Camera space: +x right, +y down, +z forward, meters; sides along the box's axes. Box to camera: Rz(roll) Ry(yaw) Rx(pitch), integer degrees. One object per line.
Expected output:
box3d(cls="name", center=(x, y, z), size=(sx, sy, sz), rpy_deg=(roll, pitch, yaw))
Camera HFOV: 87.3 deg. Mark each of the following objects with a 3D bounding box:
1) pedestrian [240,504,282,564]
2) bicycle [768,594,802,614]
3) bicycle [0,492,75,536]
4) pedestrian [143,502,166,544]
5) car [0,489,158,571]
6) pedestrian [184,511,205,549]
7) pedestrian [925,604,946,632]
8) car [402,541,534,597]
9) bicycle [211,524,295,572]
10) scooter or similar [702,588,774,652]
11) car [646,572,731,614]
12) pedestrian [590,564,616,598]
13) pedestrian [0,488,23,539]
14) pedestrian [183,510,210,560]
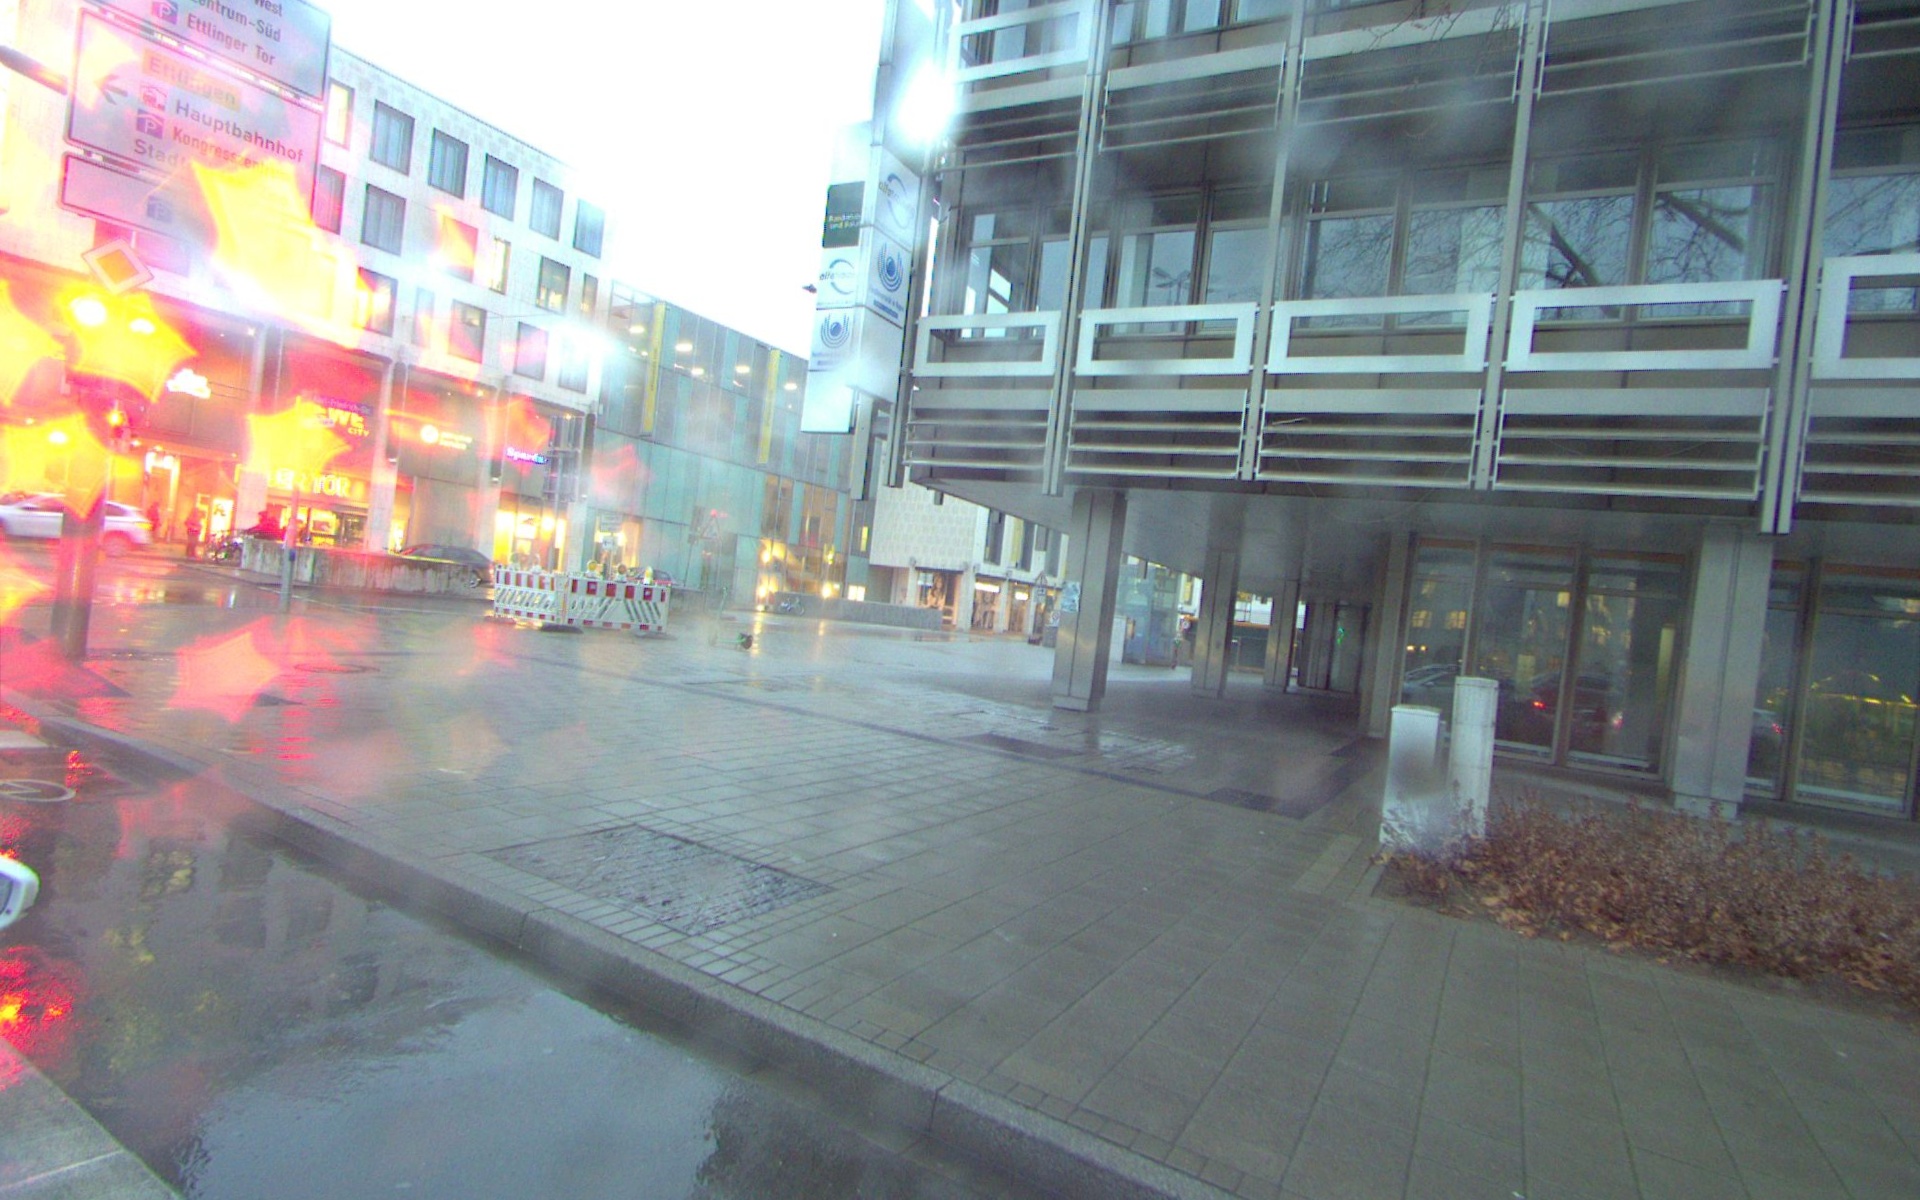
box3d(cls="pedestrian", center=(-20.207, -1.916, 29.078), size=(0.778, 1.615, 0.605), rpy_deg=(6, 1, -43))
box3d(cls="bicycle", center=(-10.770, 0.246, 61.905), size=(2.101, 1.046, 0.616), rpy_deg=(6, 0, 33))
box3d(cls="bicycle", center=(-35.960, -3.329, 38.917), size=(0.623, 1.345, 2.431), rpy_deg=(7, 0, 26))
box3d(cls="pedestrian", center=(-35.330, -3.366, 44.111), size=(0.529, 1.739, 0.500), rpy_deg=(6, 1, -21))
box3d(cls="car", center=(-24.688, -1.945, 27.176), size=(1.679, 1.783, 4.306), rpy_deg=(7, 0, 33))
box3d(cls="pedestrian", center=(-36.664, -3.354, 48.185), size=(0.529, 1.739, 0.500), rpy_deg=(6, 1, -21))
box3d(cls="pedestrian", center=(-1.890, 1.380, 77.706), size=(1.006, 2.037, 0.906), rpy_deg=(6, -1, 31))
box3d(cls="car", center=(-17.964, -1.100, 36.897), size=(1.648, 1.601, 4.056), rpy_deg=(6, -1, 29))
box3d(cls="bicycle", center=(-20.360, -1.488, 28.978), size=(1.839, 1.107, 0.610), rpy_deg=(7, 0, -44))
box3d(cls="scooter or similar", center=(-4.469, 0.405, 20.241), size=(1.215, 1.144, 0.606), rpy_deg=(7, 0, 32))
box3d(cls="car", center=(-12.537, -0.298, 46.661), size=(1.648, 1.601, 3.575), rpy_deg=(6, -1, 29))
box3d(cls="pedestrian", center=(-18.378, -0.976, 51.794), size=(0.697, 1.650, 0.795), rpy_deg=(6, -1, 31))
box3d(cls="pedestrian", center=(-35.016, -3.192, 36.973), size=(0.474, 1.782, 0.618), rpy_deg=(7, 1, 31))
box3d(cls="pedestrian", center=(-27.619, -2.349, 36.398), size=(0.529, 1.706, 0.546), rpy_deg=(6, 1, -21))
